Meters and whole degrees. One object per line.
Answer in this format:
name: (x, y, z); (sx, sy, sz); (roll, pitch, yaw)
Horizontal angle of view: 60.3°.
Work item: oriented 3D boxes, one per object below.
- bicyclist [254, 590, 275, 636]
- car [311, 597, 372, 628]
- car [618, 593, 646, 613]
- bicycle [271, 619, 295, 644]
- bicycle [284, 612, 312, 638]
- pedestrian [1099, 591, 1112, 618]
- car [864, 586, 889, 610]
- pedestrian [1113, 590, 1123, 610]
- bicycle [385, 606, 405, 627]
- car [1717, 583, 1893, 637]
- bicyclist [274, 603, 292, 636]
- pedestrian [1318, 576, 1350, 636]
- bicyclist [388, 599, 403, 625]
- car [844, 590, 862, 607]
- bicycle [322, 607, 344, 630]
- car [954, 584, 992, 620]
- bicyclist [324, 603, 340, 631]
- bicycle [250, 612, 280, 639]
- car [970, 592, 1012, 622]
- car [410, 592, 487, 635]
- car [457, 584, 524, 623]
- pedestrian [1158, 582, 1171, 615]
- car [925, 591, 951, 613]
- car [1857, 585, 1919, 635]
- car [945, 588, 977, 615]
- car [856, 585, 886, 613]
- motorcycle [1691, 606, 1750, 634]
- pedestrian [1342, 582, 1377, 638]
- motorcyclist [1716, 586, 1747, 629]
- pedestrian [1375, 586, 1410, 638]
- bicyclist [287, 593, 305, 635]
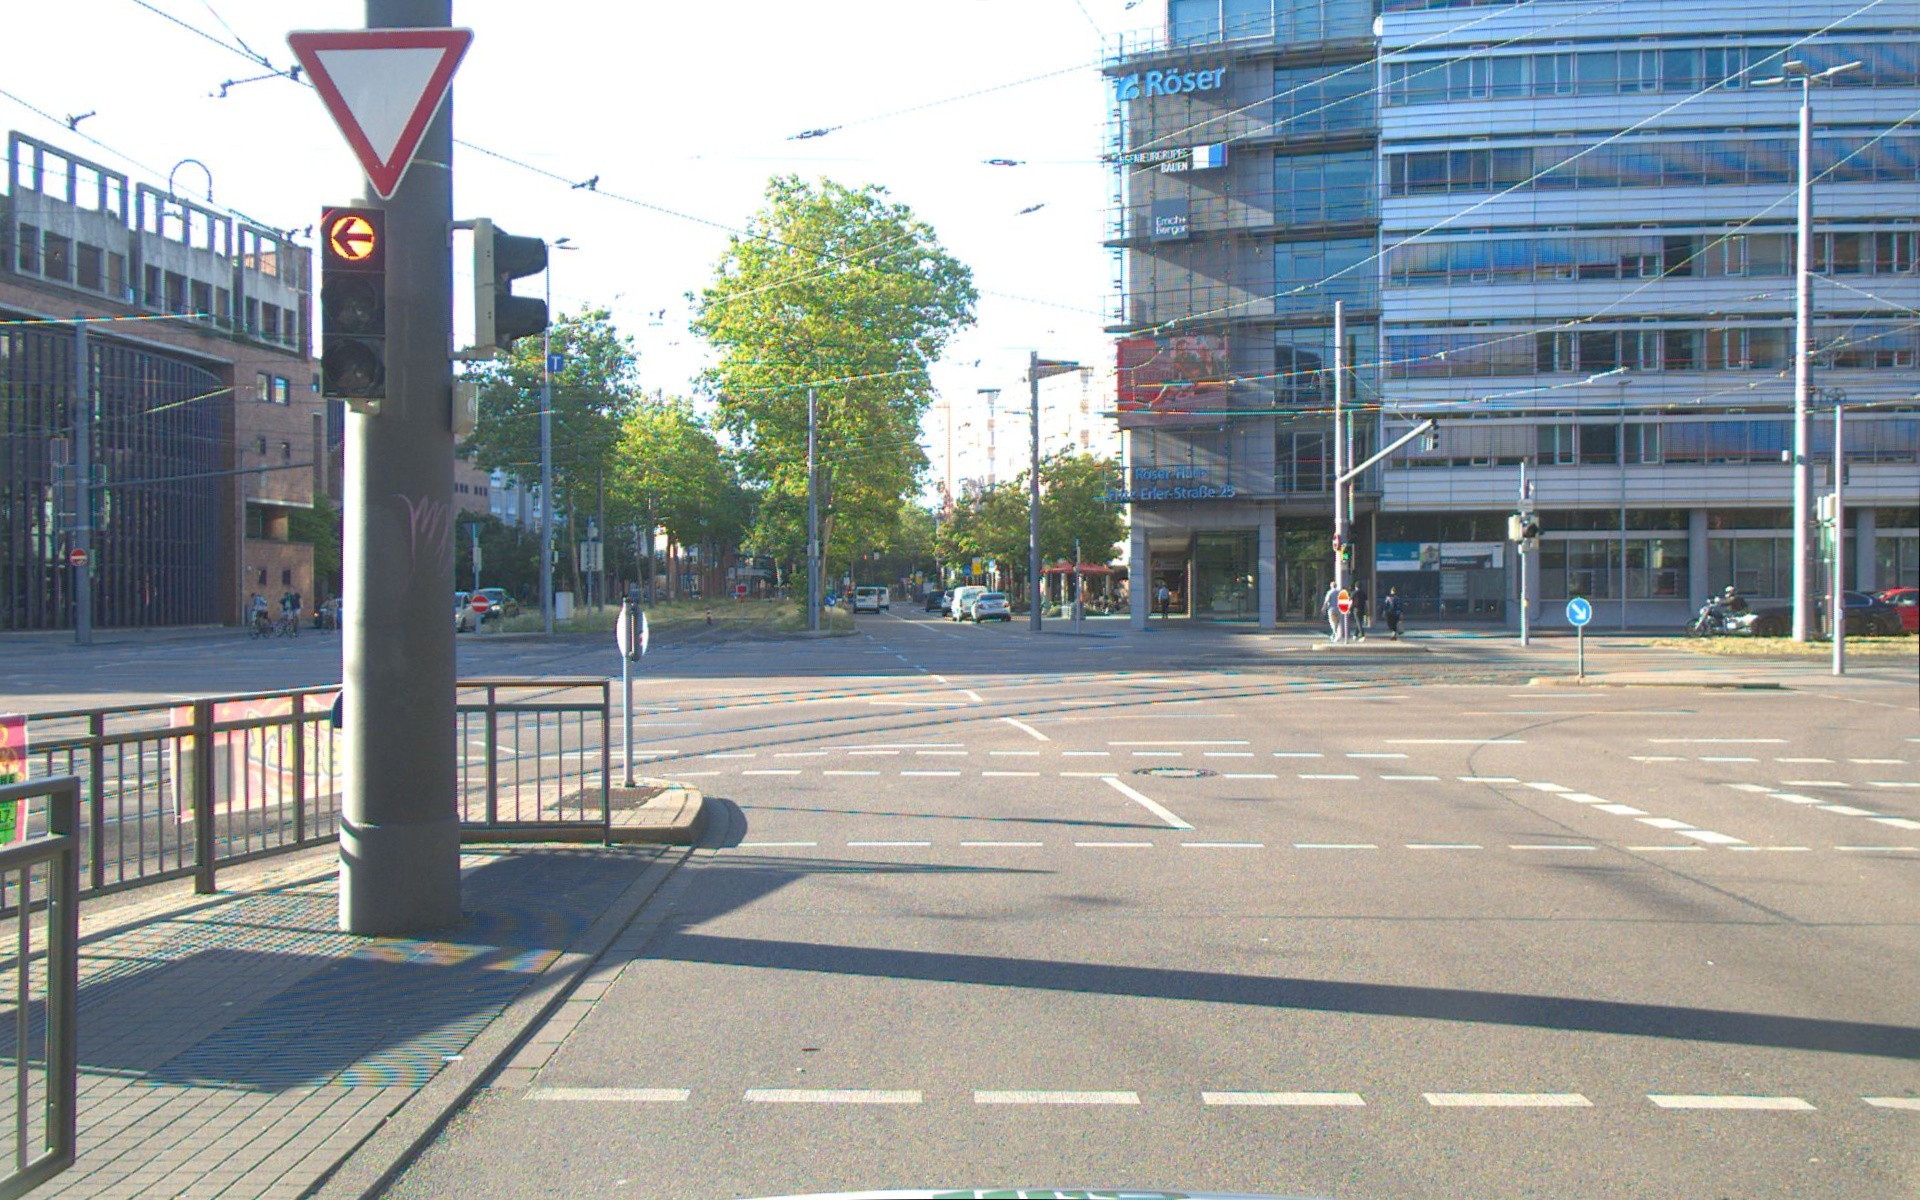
bicyclist: (-26.889, 0.504, 63.960); (0.525, 1.761, 0.581); (-1, 0, -1)
car: (-31.172, 0.618, 83.428); (1.633, 1.461, 3.999); (-1, 0, -2)
car: (-32.070, 0.301, 161.595); (1.953, 1.847, 3.999); (-1, 0, -1)
bicycle: (-27.719, 1.278, 67.742); (0.458, 0.980, 1.320); (-1, 0, -1)
bicycle: (-25.843, 0.969, 64.599); (0.463, 0.980, 1.575); (-1, 0, -1)
pedestrian: (9.236, 0.286, 105.074); (0.729, 1.744, 0.612); (-1, 0, -1)
car: (-6.861, -0.167, 136.111); (1.953, 1.945, 3.999); (-1, 0, -1)
pedestrian: (10.504, -0.015, 110.179); (0.565, 1.311, 0.910); (-1, 0, -1)
bicycle: (-27.591, 0.807, 80.755); (0.482, 0.980, 1.486); (-1, 0, -1)
car: (24.009, 0.279, 47.097); (4.070, 1.423, 1.786); (-1, 0, 4)
bicyclist: (-27.729, 0.794, 67.786); (0.495, 1.327, 0.581); (-1, 0, -1)
pedestrian: (11.525, 0.176, 51.013); (0.845, 1.820, 0.872); (-1, 0, 6)
bicyclist: (-27.587, 0.582, 80.818); (0.495, 1.232, 0.581); (-1, 0, -1)
car: (-12.606, -0.172, 195.461); (1.953, 2.049, 3.999); (-1, 0, -1)
bicycle: (-27.091, 0.802, 71.419); (0.442, 0.980, 1.347); (-1, 0, -1)
car: (0.685, 0.115, 89.564); (1.953, 1.892, 3.999); (-1, 0, -1)
bicyclist: (-27.083, 0.717, 71.334); (0.495, 1.199, 0.581); (-1, 0, -1)
bicycle: (-26.901, 0.976, 64.036); (0.531, 0.980, 1.586); (-1, 0, -1)
car: (1.534, 0.335, 82.779); (1.953, 1.400, 3.999); (-1, 0, -1)
car: (-20.668, 0.509, 67.025); (1.953, 1.668, 3.999); (-1, 0, -2)
car: (-21.122, 0.143, 74.584); (1.953, 1.668, 3.999); (-1, 0, -2)
pedestrian: (9.447, -0.080, 76.329); (0.599, 1.534, 0.579); (-1, 0, 7)
car: (-1.683, 0.129, 126.624); (1.953, 1.646, 3.999); (-1, 0, -1)
car: (29.338, 0.241, 49.573); (3.903, 1.418, 1.786); (-2, 0, 4)
car: (0.033, 0.069, 105.201); (1.953, 1.646, 3.999); (-1, 0, -1)
car: (-6.306, -0.077, 117.594); (1.921, 1.881, 5.329); (-1, 0, -1)
motorcycle: (22.908, 0.607, 49.811); (1.535, 0.824, 0.467); (-1, 0, 3)
pedestrian: (12.583, 0.308, 52.153); (0.893, 1.714, 1.035); (-1, 0, 4)
motorcyclist: (23.221, 0.224, 49.780); (0.697, 1.298, 0.460); (-1, 0, 3)
pedestrian: (13.555, 0.367, 51.819); (0.928, 1.591, 0.897); (-1, 0, 6)
bicyclist: (-25.868, 0.528, 64.397); (0.449, 1.631, 0.581); (-1, 0, -1)
